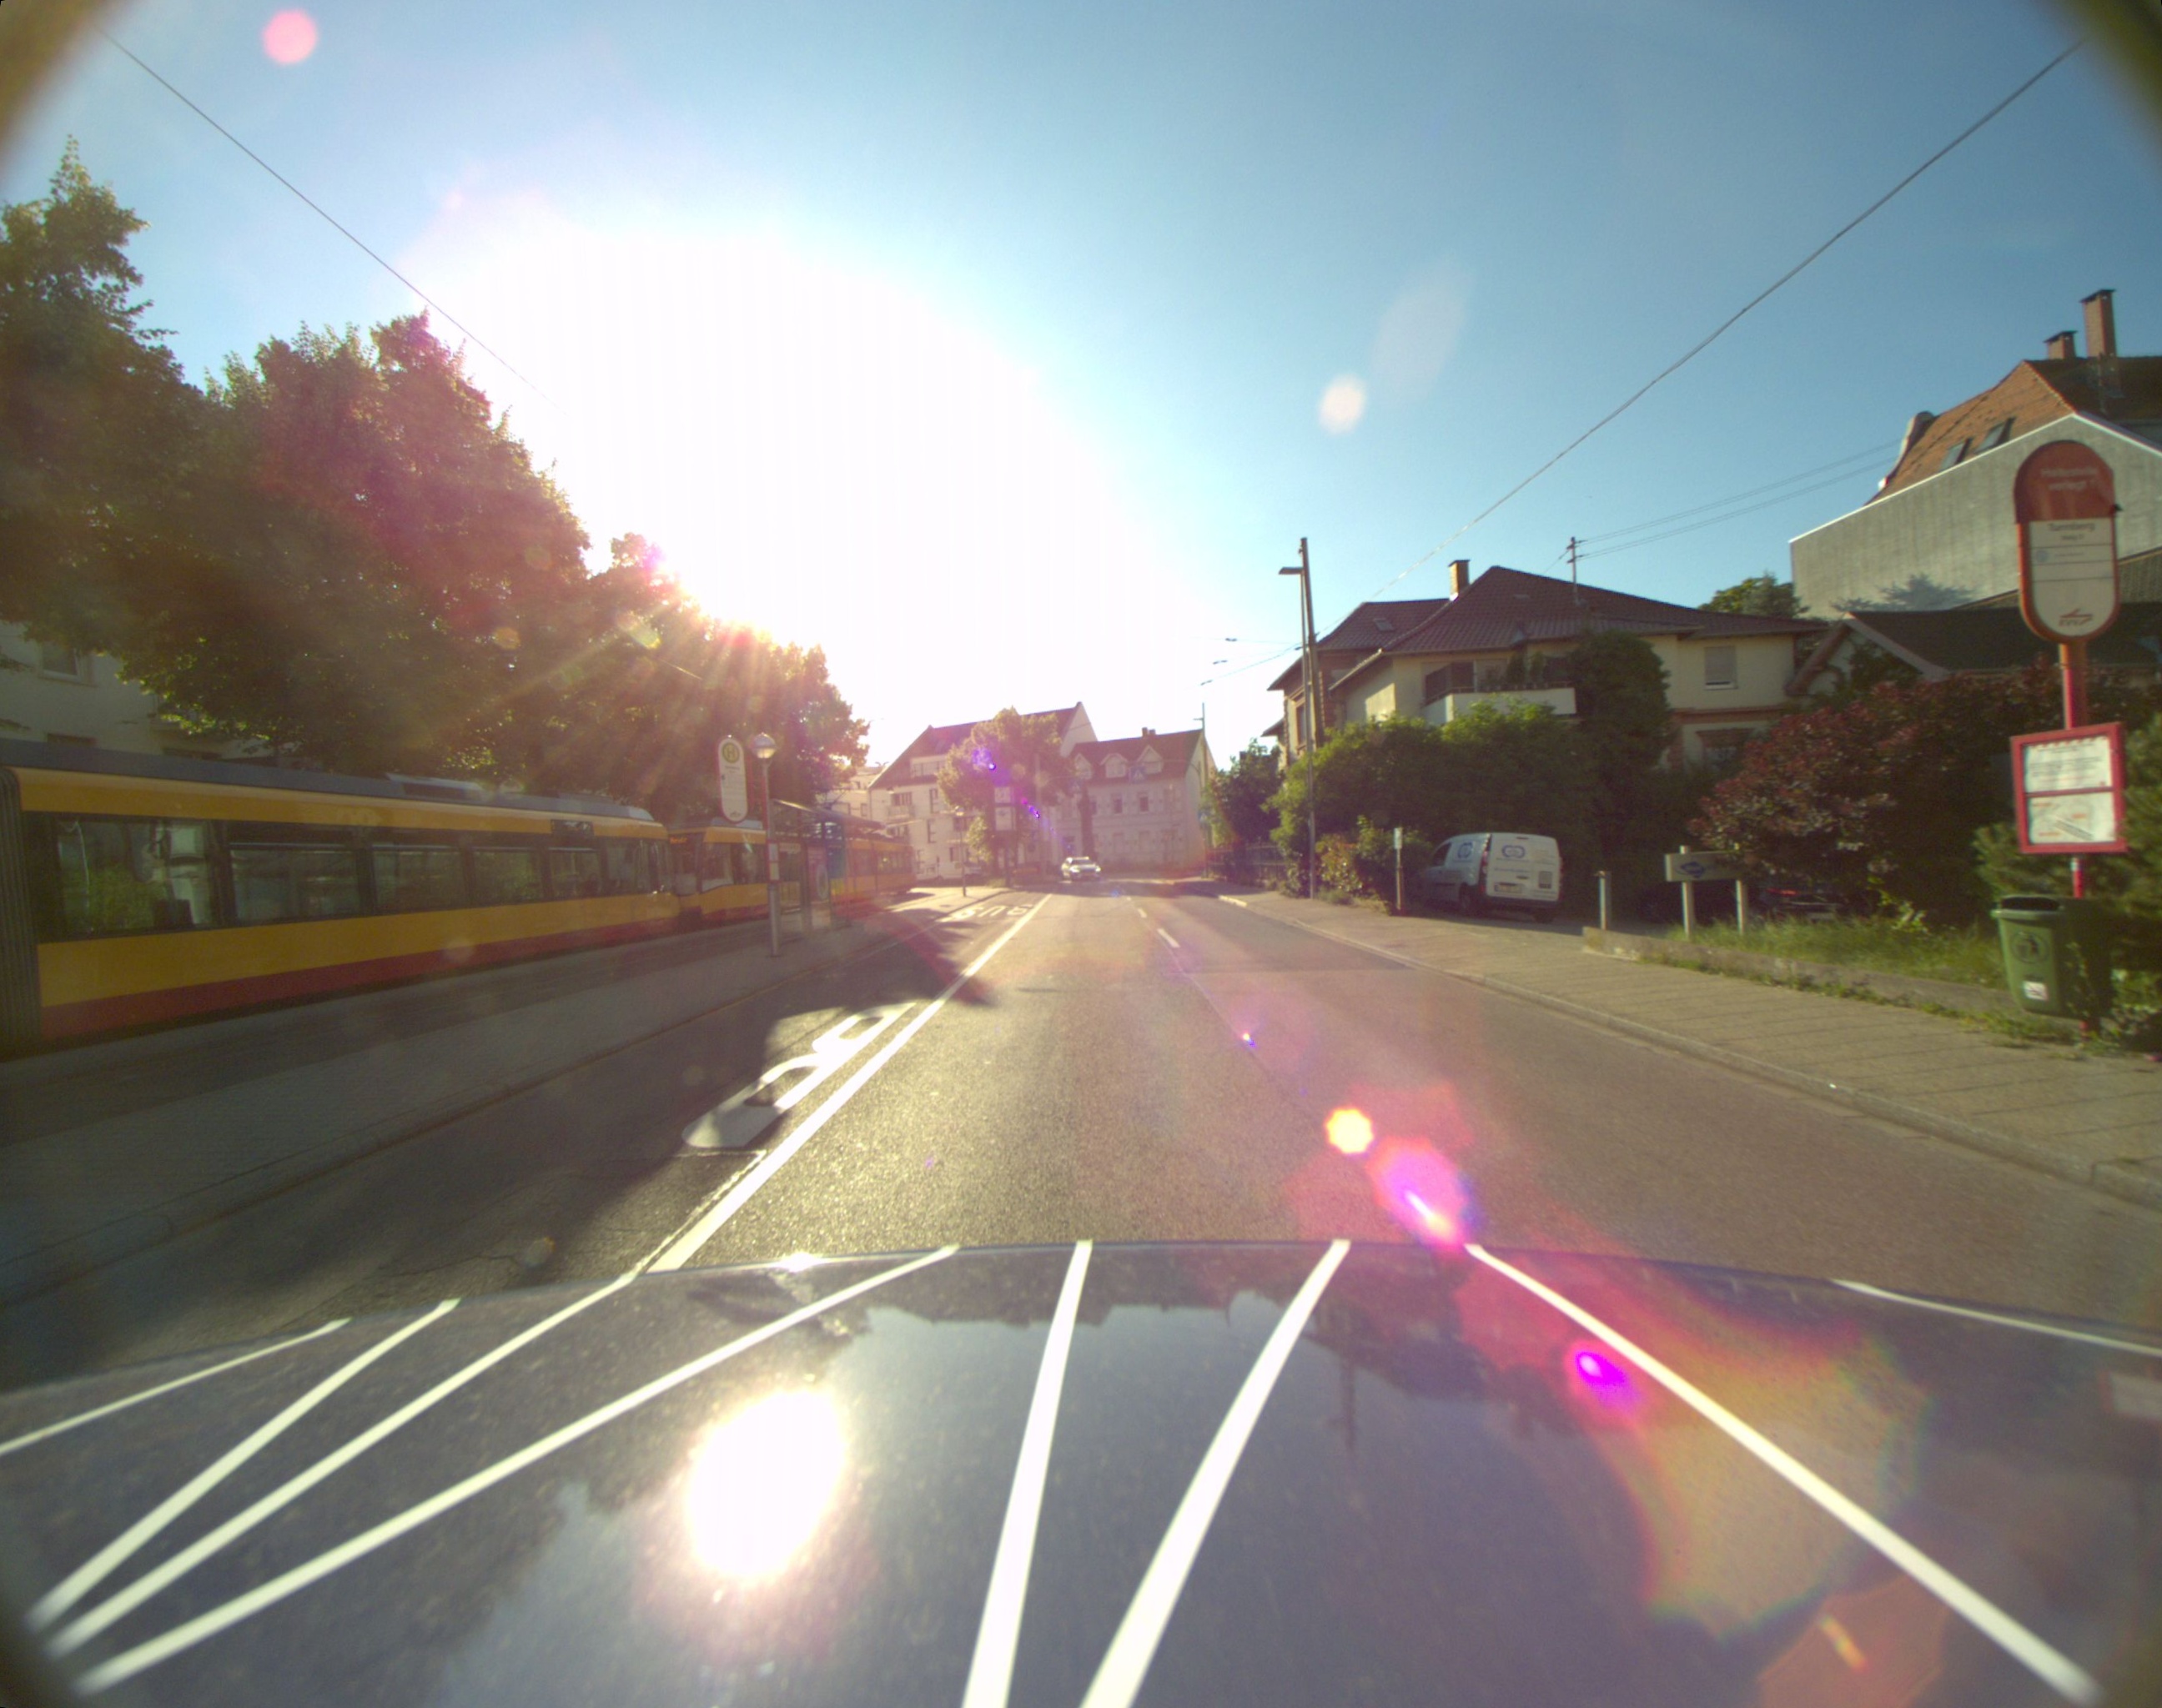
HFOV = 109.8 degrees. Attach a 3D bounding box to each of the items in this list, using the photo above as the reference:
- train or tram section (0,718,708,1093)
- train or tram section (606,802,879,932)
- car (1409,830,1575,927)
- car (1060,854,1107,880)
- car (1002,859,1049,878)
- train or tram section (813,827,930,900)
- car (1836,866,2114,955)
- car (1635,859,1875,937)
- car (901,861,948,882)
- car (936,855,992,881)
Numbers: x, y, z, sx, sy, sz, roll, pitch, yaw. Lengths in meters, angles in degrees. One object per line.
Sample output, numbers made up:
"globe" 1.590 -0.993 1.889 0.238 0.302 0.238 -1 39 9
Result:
"train or tram section" -11.544 0.436 13.383 2.964 3.514 13.462 -2 1 1
"train or tram section" -11.213 0.405 28.394 2.965 3.401 15.940 -2 0 0
"car" 8.894 0.480 16.819 1.705 1.804 3.672 4 0 3
"car" 0.115 0.807 48.067 2.000 1.453 4.445 -3 0 -12
"car" -5.246 1.343 71.713 4.196 1.453 1.610 -5 0 32
"train or tram section" -11.330 0.500 42.955 2.965 3.401 13.463 -2 0 -1
"car" 19.721 1.159 17.067 1.844 1.658 3.794 2 0 4
"car" 14.808 0.889 17.018 1.846 1.508 3.791 1 0 -4
"car" -15.869 1.752 77.078 4.263 1.945 2.003 -2 0 20
"car" -10.553 1.275 68.497 4.780 1.921 1.875 -5 0 30
